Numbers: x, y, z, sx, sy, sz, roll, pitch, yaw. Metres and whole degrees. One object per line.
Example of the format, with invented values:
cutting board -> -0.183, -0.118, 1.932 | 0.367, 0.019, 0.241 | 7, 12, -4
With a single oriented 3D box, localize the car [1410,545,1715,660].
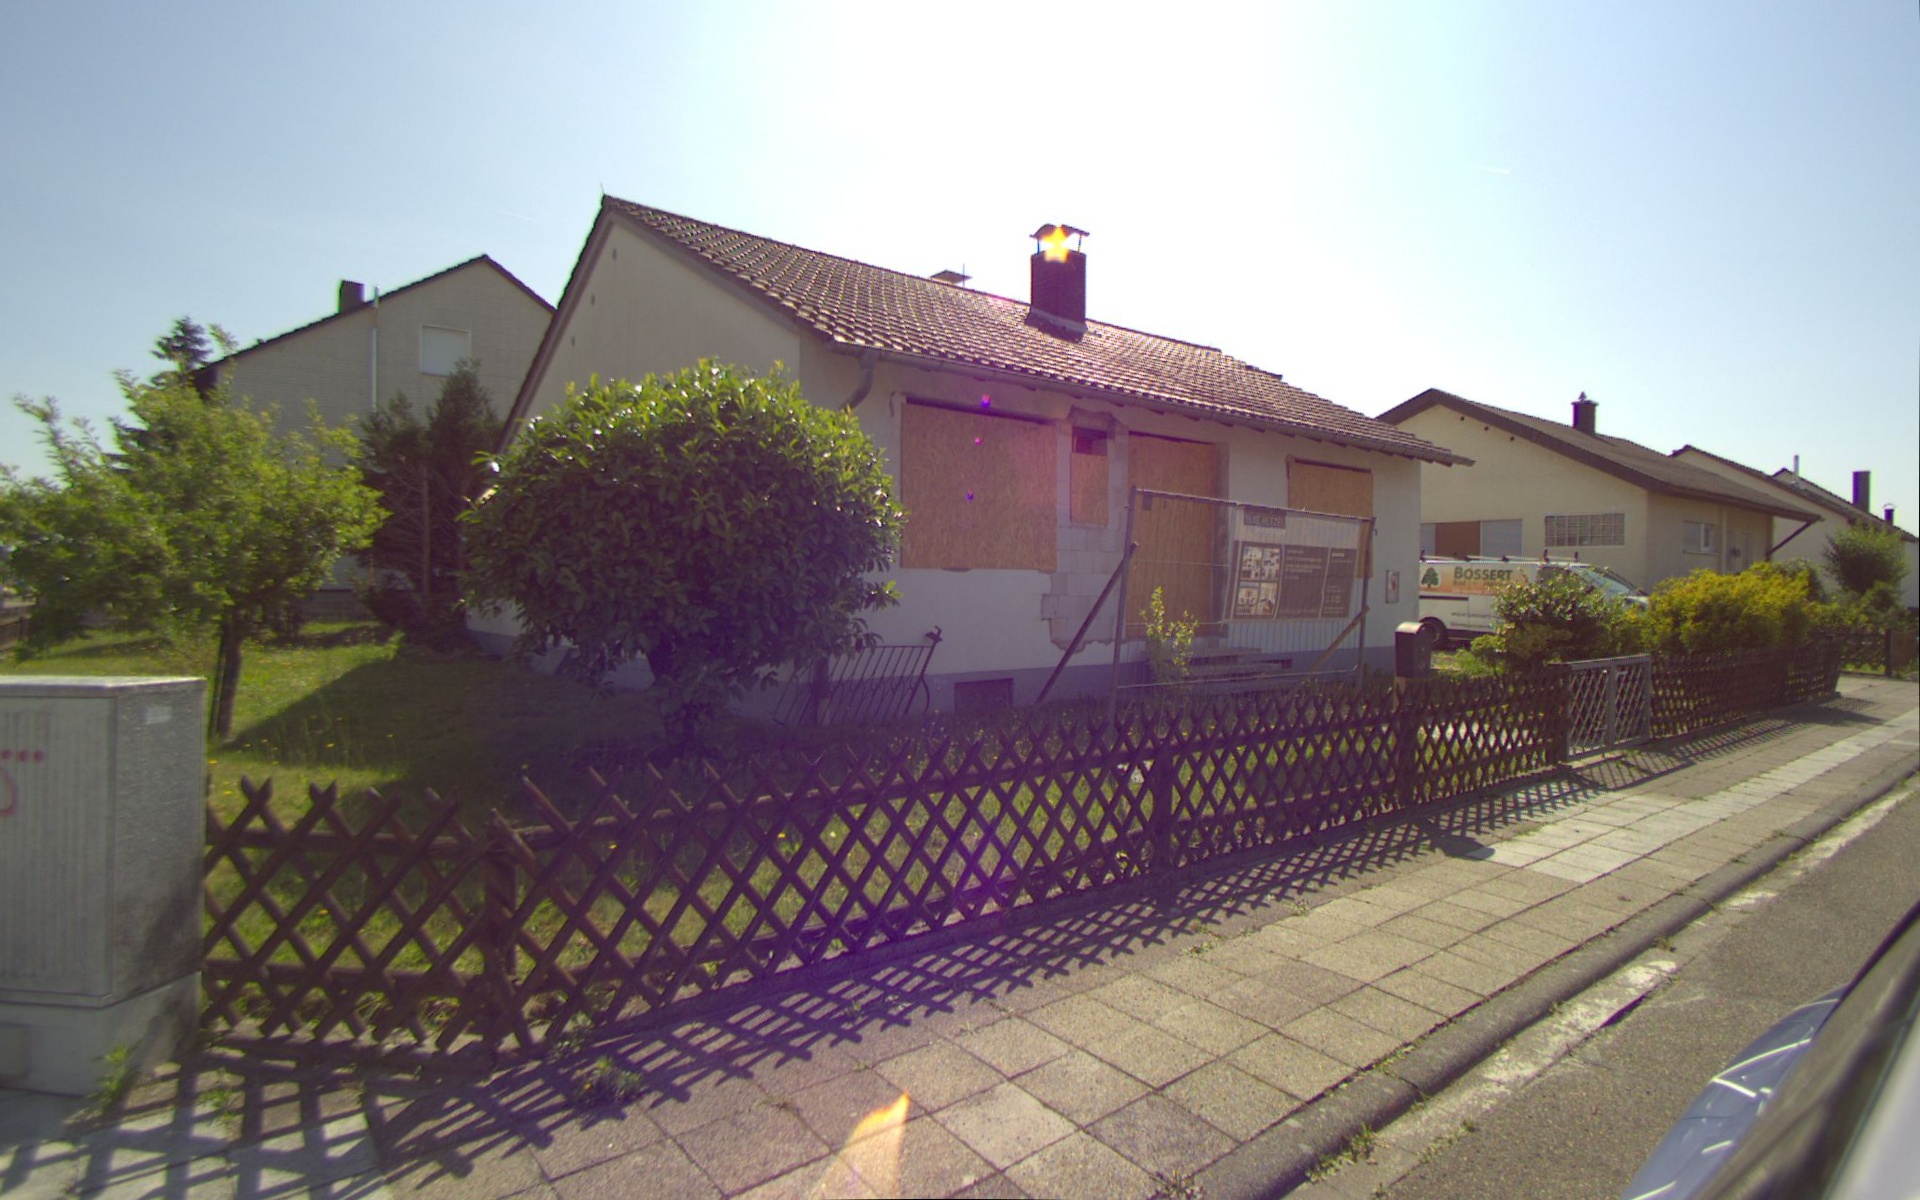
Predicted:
car -> 12.017, -0.015, 20.555 | 1.833, 2.039, 5.011 | 0, 1, -37
